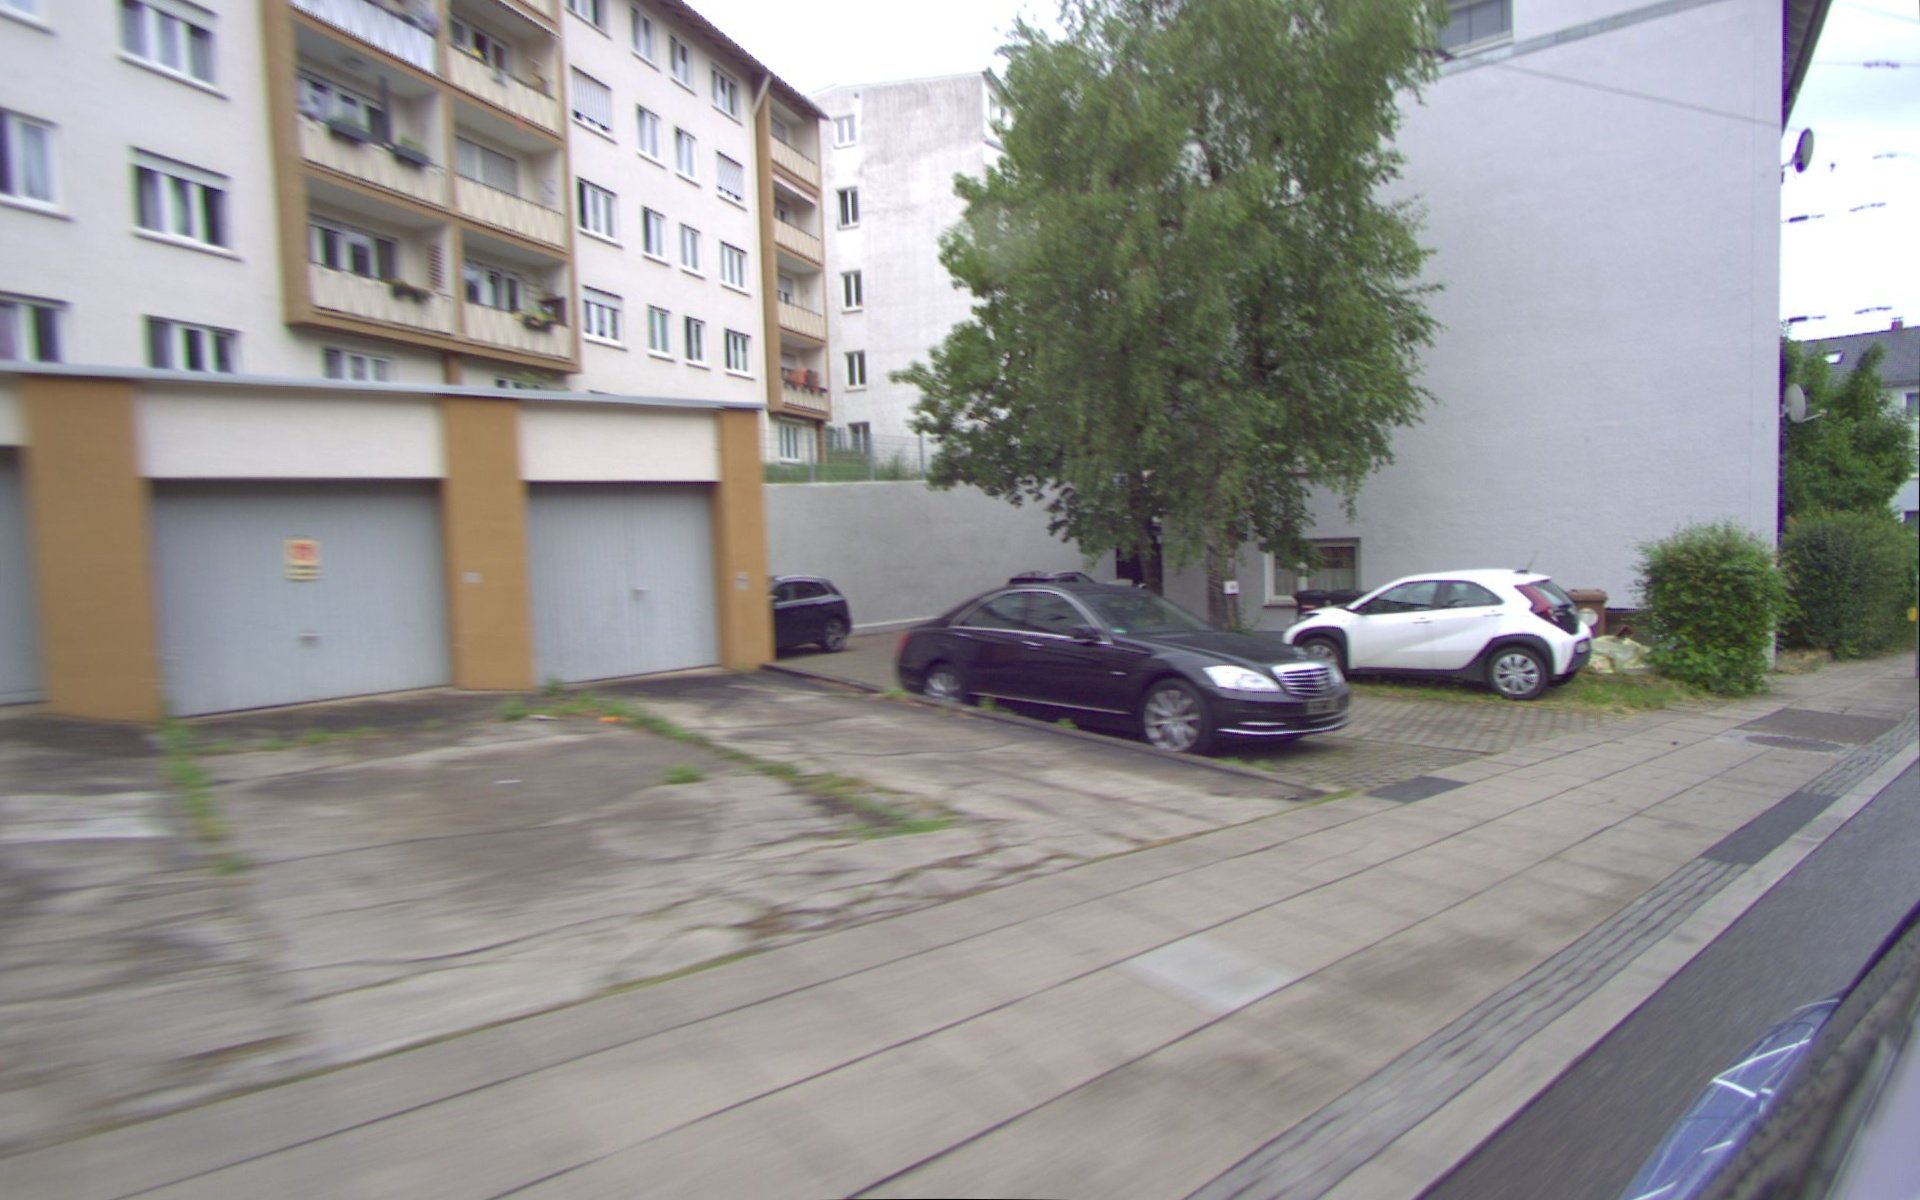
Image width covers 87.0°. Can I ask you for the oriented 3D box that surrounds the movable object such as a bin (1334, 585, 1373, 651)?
[{"bbox_3d":[6.981,0.301,17.952,0.513,1.125,0.635,1,1,36],"label":"movable object such as a bin"}]

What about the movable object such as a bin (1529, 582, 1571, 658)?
[{"bbox_3d":[9.427,0.300,16.159,0.513,1.173,0.635,1,1,36],"label":"movable object such as a bin"}]

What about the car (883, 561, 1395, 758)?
[{"bbox_3d":[1.456,0.471,10.036,1.939,1.455,4.940,1,-1,-40],"label":"car"}]

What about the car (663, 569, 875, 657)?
[{"bbox_3d":[-3.832,0.202,21.011,1.738,1.624,4.369,-1,1,35],"label":"car"}]

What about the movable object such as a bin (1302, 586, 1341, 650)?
[{"bbox_3d":[6.526,0.311,18.271,0.513,1.125,0.635,1,1,36],"label":"movable object such as a bin"}]

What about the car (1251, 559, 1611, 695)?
[{"bbox_3d":[6.117,0.240,13.440,3.988,1.484,1.789,2,4,45],"label":"car"}]

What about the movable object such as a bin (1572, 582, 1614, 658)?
[{"bbox_3d":[9.884,0.303,15.803,0.532,1.154,0.694,-1,0,33],"label":"movable object such as a bin"}]

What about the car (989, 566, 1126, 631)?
[{"bbox_3d":[2.584,-0.074,25.979,1.680,1.530,3.947,-1,1,37],"label":"car"}]
